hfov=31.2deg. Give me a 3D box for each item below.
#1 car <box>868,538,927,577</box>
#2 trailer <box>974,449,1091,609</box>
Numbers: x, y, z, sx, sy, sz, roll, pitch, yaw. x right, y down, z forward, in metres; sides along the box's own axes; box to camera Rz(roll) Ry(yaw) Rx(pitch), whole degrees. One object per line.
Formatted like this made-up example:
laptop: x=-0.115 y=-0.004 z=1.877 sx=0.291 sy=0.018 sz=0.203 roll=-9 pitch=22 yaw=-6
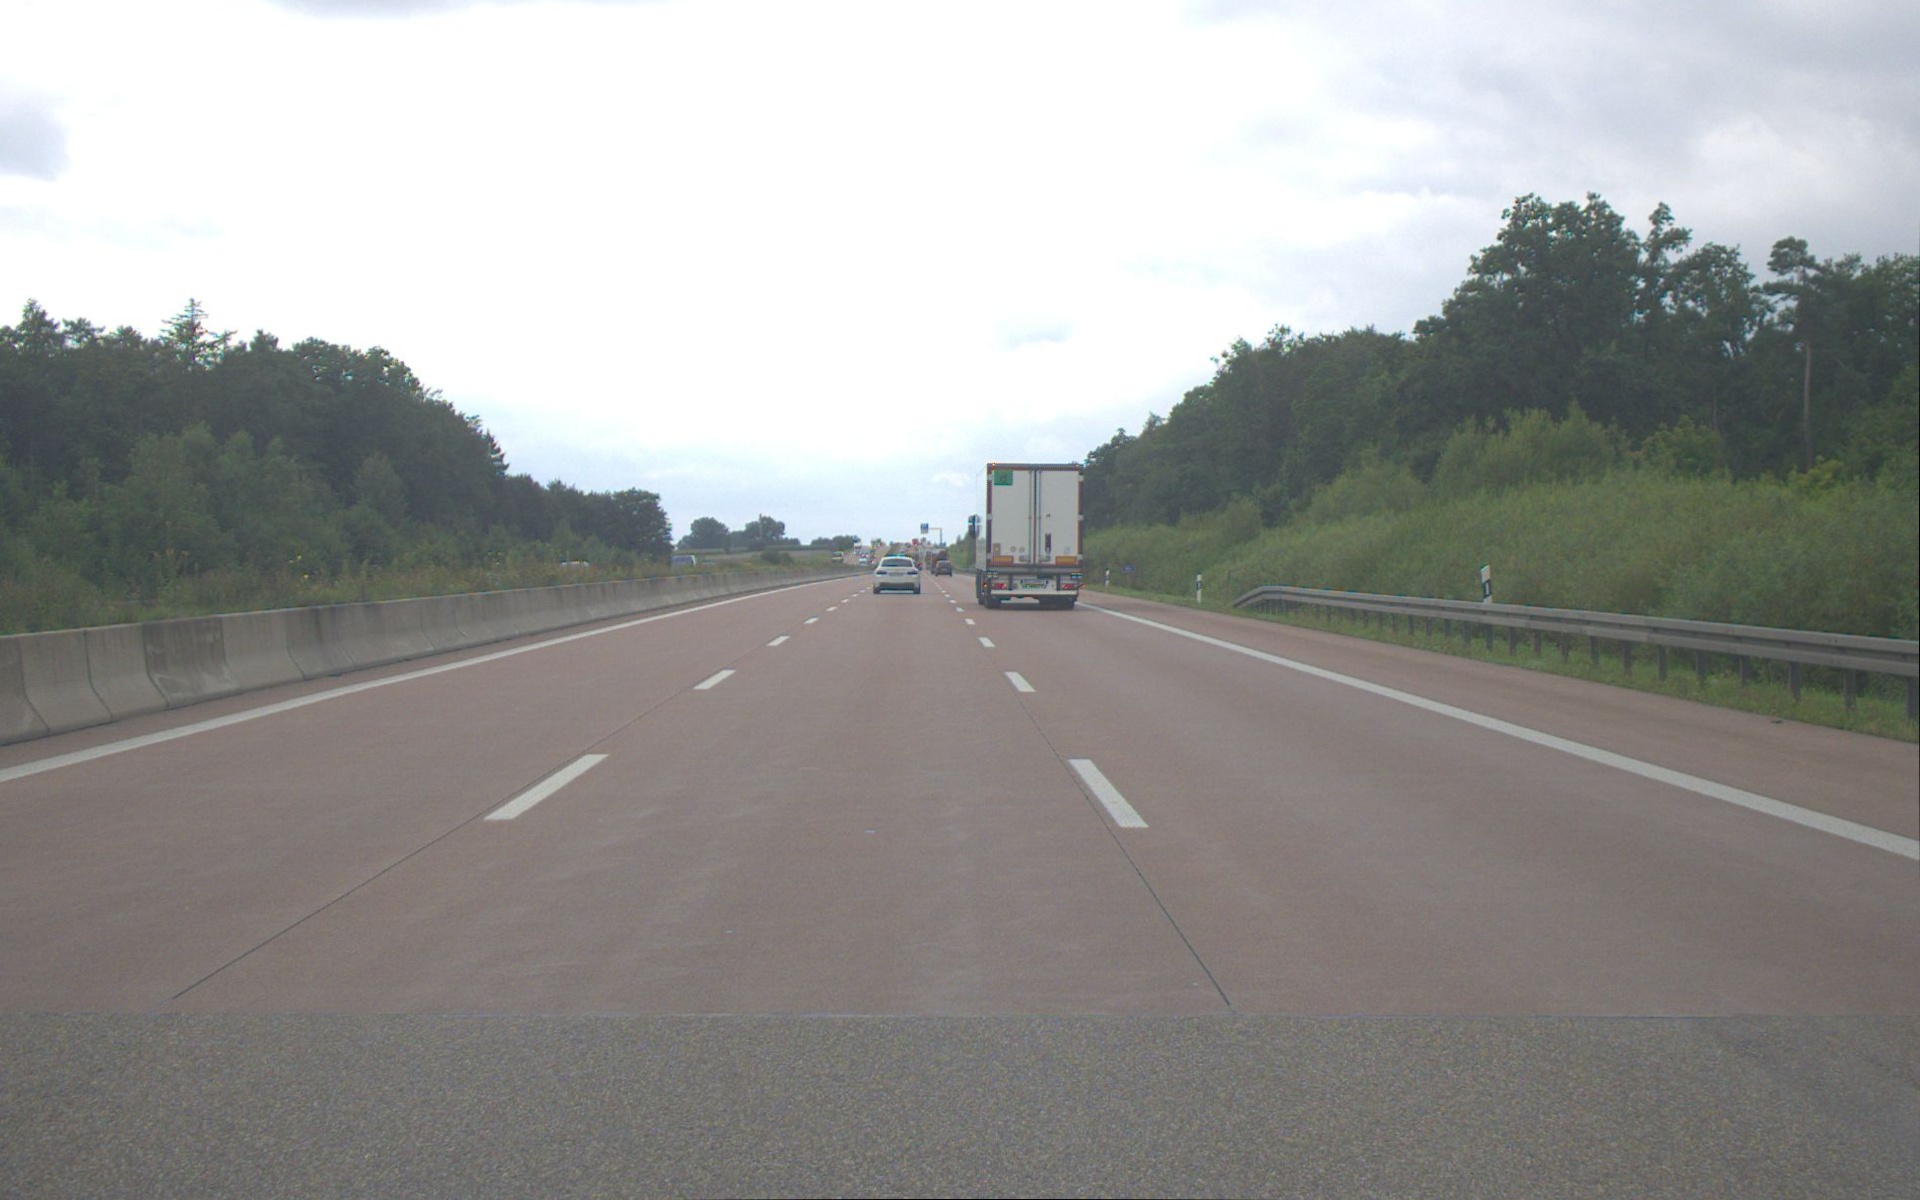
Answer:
car: x=-2.463 y=-1.700 z=137.013 sx=2.163 sy=1.446 sz=4.719 roll=1 pitch=1 yaw=1
trailer: x=1.964 y=-2.147 z=98.641 sx=2.921 sy=4.279 sz=13.616 roll=0 pitch=2 yaw=-1
